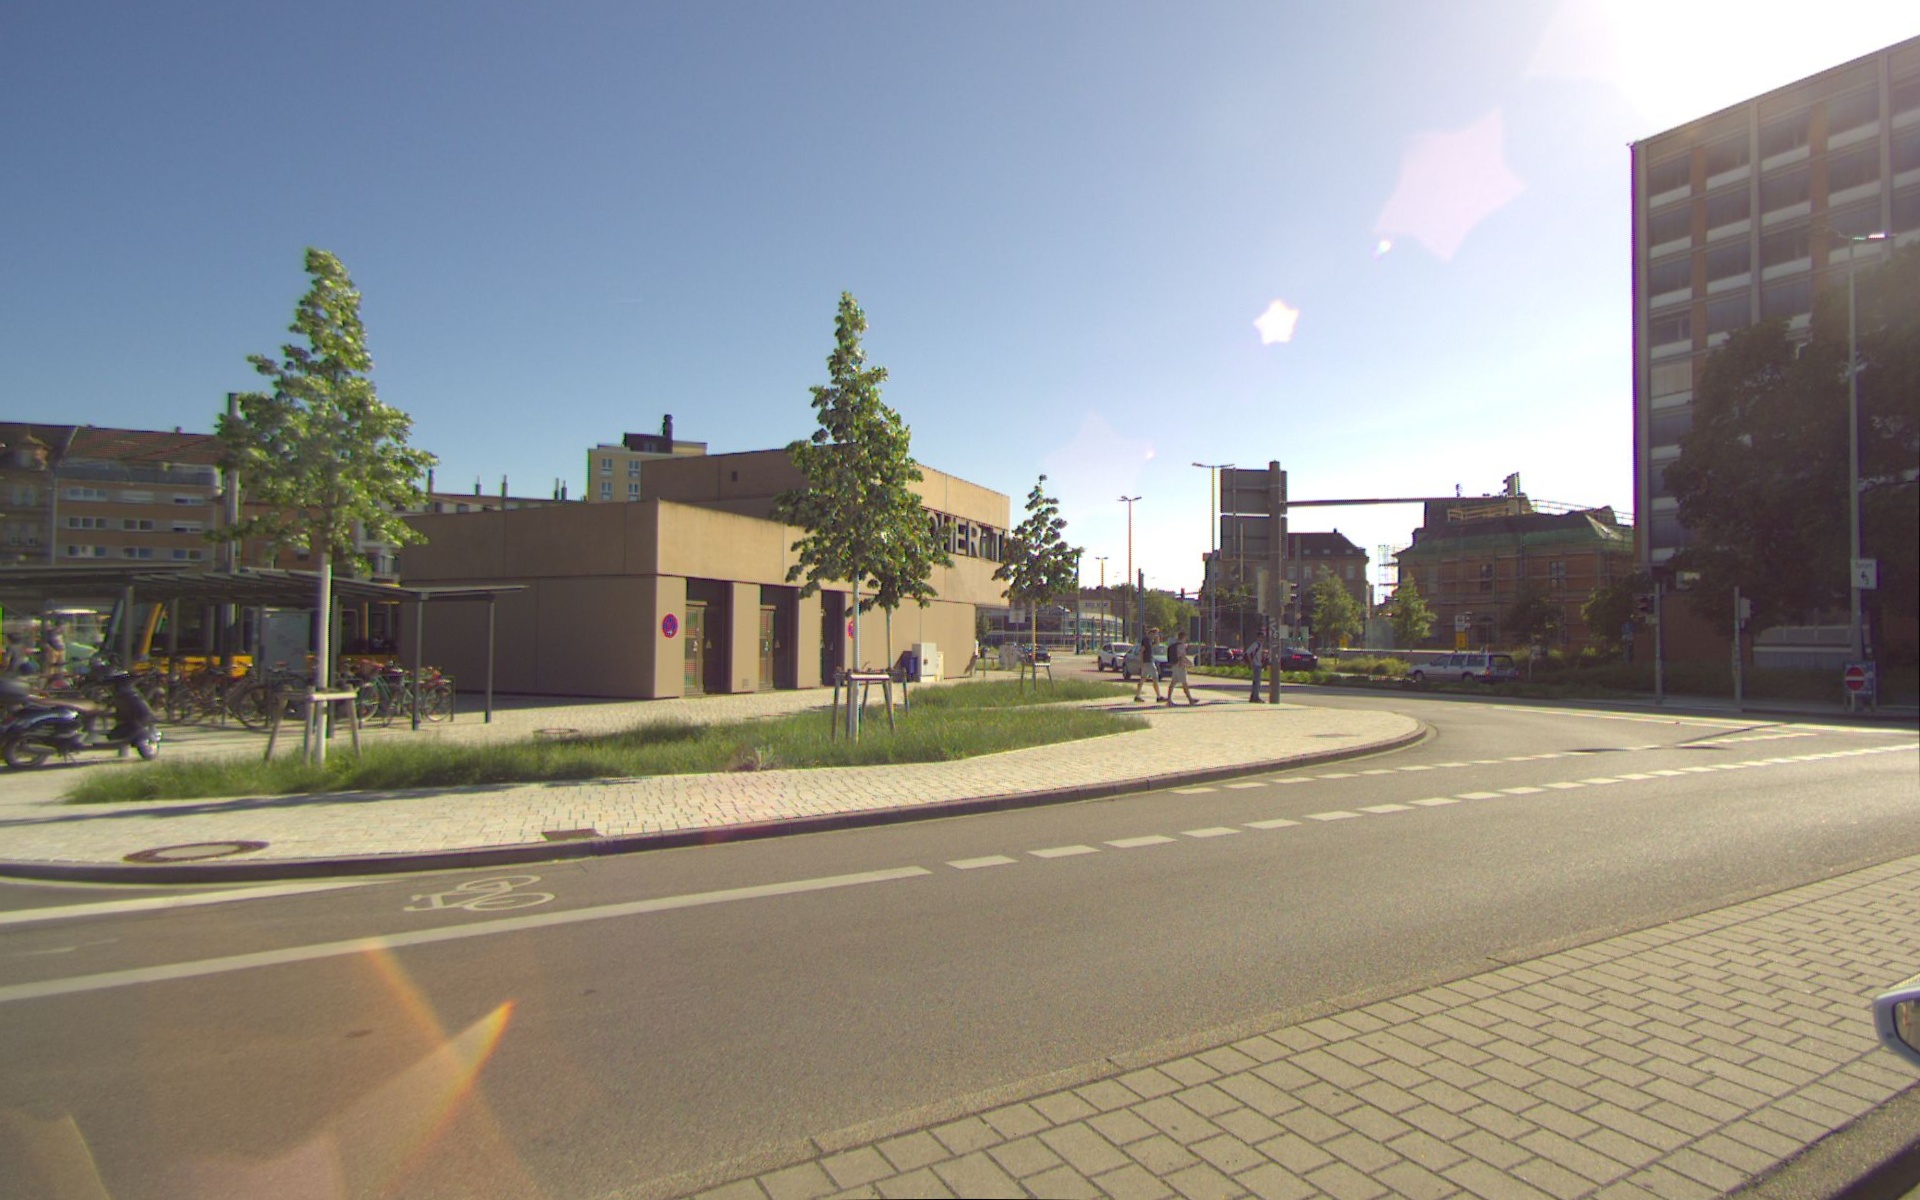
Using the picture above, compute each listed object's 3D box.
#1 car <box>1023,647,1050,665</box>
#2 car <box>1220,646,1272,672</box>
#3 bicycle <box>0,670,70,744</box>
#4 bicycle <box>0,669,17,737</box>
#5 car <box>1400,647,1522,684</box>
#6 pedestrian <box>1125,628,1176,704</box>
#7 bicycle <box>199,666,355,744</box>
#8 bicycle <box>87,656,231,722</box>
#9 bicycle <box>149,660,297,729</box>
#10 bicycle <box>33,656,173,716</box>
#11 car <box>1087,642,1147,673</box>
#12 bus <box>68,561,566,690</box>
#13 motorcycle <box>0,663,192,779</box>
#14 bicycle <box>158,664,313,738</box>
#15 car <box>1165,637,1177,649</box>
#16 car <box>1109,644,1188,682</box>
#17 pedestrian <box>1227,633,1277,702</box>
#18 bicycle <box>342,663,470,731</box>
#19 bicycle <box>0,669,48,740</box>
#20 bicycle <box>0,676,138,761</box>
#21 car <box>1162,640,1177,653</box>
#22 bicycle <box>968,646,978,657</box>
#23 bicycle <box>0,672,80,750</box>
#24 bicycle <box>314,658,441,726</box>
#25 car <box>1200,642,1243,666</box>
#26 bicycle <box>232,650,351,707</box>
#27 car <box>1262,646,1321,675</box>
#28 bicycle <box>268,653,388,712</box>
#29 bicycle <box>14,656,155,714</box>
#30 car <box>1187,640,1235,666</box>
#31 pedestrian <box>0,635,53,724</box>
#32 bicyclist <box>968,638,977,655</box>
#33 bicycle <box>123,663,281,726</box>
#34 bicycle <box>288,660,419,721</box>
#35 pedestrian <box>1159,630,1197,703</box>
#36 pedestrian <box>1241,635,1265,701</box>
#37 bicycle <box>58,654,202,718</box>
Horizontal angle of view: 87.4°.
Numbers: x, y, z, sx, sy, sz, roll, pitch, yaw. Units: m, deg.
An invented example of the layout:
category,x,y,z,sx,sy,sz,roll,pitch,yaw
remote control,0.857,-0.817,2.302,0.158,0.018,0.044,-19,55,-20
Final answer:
category,x,y,z,sx,sy,sz,roll,pitch,yaw
car,6.439,4.741,84.739,1.784,1.524,4.785,-1,-3,-1
car,19.705,4.033,69.371,1.810,1.653,4.382,1,-2,-8
bicycle,-13.700,1.530,14.179,0.399,0.985,1.683,2,0,22
bicycle,-14.722,1.540,14.430,0.399,0.985,1.683,2,0,22
car,21.376,2.781,43.138,1.815,1.406,4.881,1,-2,-18
pedestrian,4.740,1.647,25.037,1.082,1.822,0.705,2,-4,-4
bicycle,-10.908,1.649,16.139,0.524,1.051,2.070,2,0,26
bicycle,-15.021,1.639,18.911,0.524,1.051,2.070,5,1,26
bicycle,-12.903,1.628,17.662,0.524,1.051,2.070,2,0,26
bicycle,-16.888,1.676,19.854,0.524,1.051,2.070,-2,-2,26
car,9.124,3.381,58.696,1.813,1.640,4.692,3,-4,-13
bus,-18.538,0.861,31.146,2.810,3.112,13.620,0,-2,25
motorcycle,-10.853,1.446,12.482,0.558,1.235,2.087,0,-1,21
bicycle,-12.023,1.651,16.756,0.524,1.051,2.070,2,0,26
car,36.571,7.441,174.105,1.959,2.040,4.003,0,-2,11
car,8.203,2.750,44.150,1.764,1.602,4.246,0,-3,-15
pedestrian,7.455,1.727,25.645,0.831,1.711,0.896,5,-5,-34
bicycle,-9.972,1.720,18.167,0.524,1.051,2.070,2,0,26
bicycle,-14.205,1.525,14.381,0.399,0.985,1.683,2,0,22
bicycle,-12.207,1.573,13.584,0.399,0.985,1.683,2,0,22
car,33.281,7.332,159.473,1.959,2.040,4.003,0,-2,7
bicycle,1.160,4.671,91.224,0.727,1.008,1.990,0,-4,-6
bicycle,-13.234,1.543,13.818,0.399,0.985,1.683,2,0,22
bicycle,-10.802,1.682,18.704,0.594,1.093,2.053,2,0,25
car,19.612,4.028,75.512,1.809,1.653,4.386,1,-2,-4
bicycle,-13.922,1.614,20.998,0.524,1.051,2.070,2,0,26
car,20.696,3.757,62.905,1.810,1.653,4.382,1,-2,-8
bicycle,-12.747,1.646,20.333,0.524,1.051,2.070,2,0,26
bicycle,-17.776,1.696,20.462,0.524,1.051,2.070,5,0,26
car,16.917,3.561,67.881,1.809,1.653,4.384,1,-2,-6
pedestrian,-21.179,1.765,22.611,0.787,1.942,0.770,0,-2,8
bicyclist,1.164,4.225,91.245,0.727,1.519,1.072,0,-3,-5
bicycle,-13.714,1.676,18.267,0.673,0.956,2.233,2,0,25
bicycle,-11.767,1.731,19.577,0.679,1.011,2.140,2,0,26
pedestrian,5.226,1.613,24.142,0.773,1.711,0.795,1,-5,3
pedestrian,7.895,1.824,27.079,0.585,1.751,0.580,0,-2,14
bicycle,-15.907,1.622,19.325,0.524,1.051,2.070,5,1,26
